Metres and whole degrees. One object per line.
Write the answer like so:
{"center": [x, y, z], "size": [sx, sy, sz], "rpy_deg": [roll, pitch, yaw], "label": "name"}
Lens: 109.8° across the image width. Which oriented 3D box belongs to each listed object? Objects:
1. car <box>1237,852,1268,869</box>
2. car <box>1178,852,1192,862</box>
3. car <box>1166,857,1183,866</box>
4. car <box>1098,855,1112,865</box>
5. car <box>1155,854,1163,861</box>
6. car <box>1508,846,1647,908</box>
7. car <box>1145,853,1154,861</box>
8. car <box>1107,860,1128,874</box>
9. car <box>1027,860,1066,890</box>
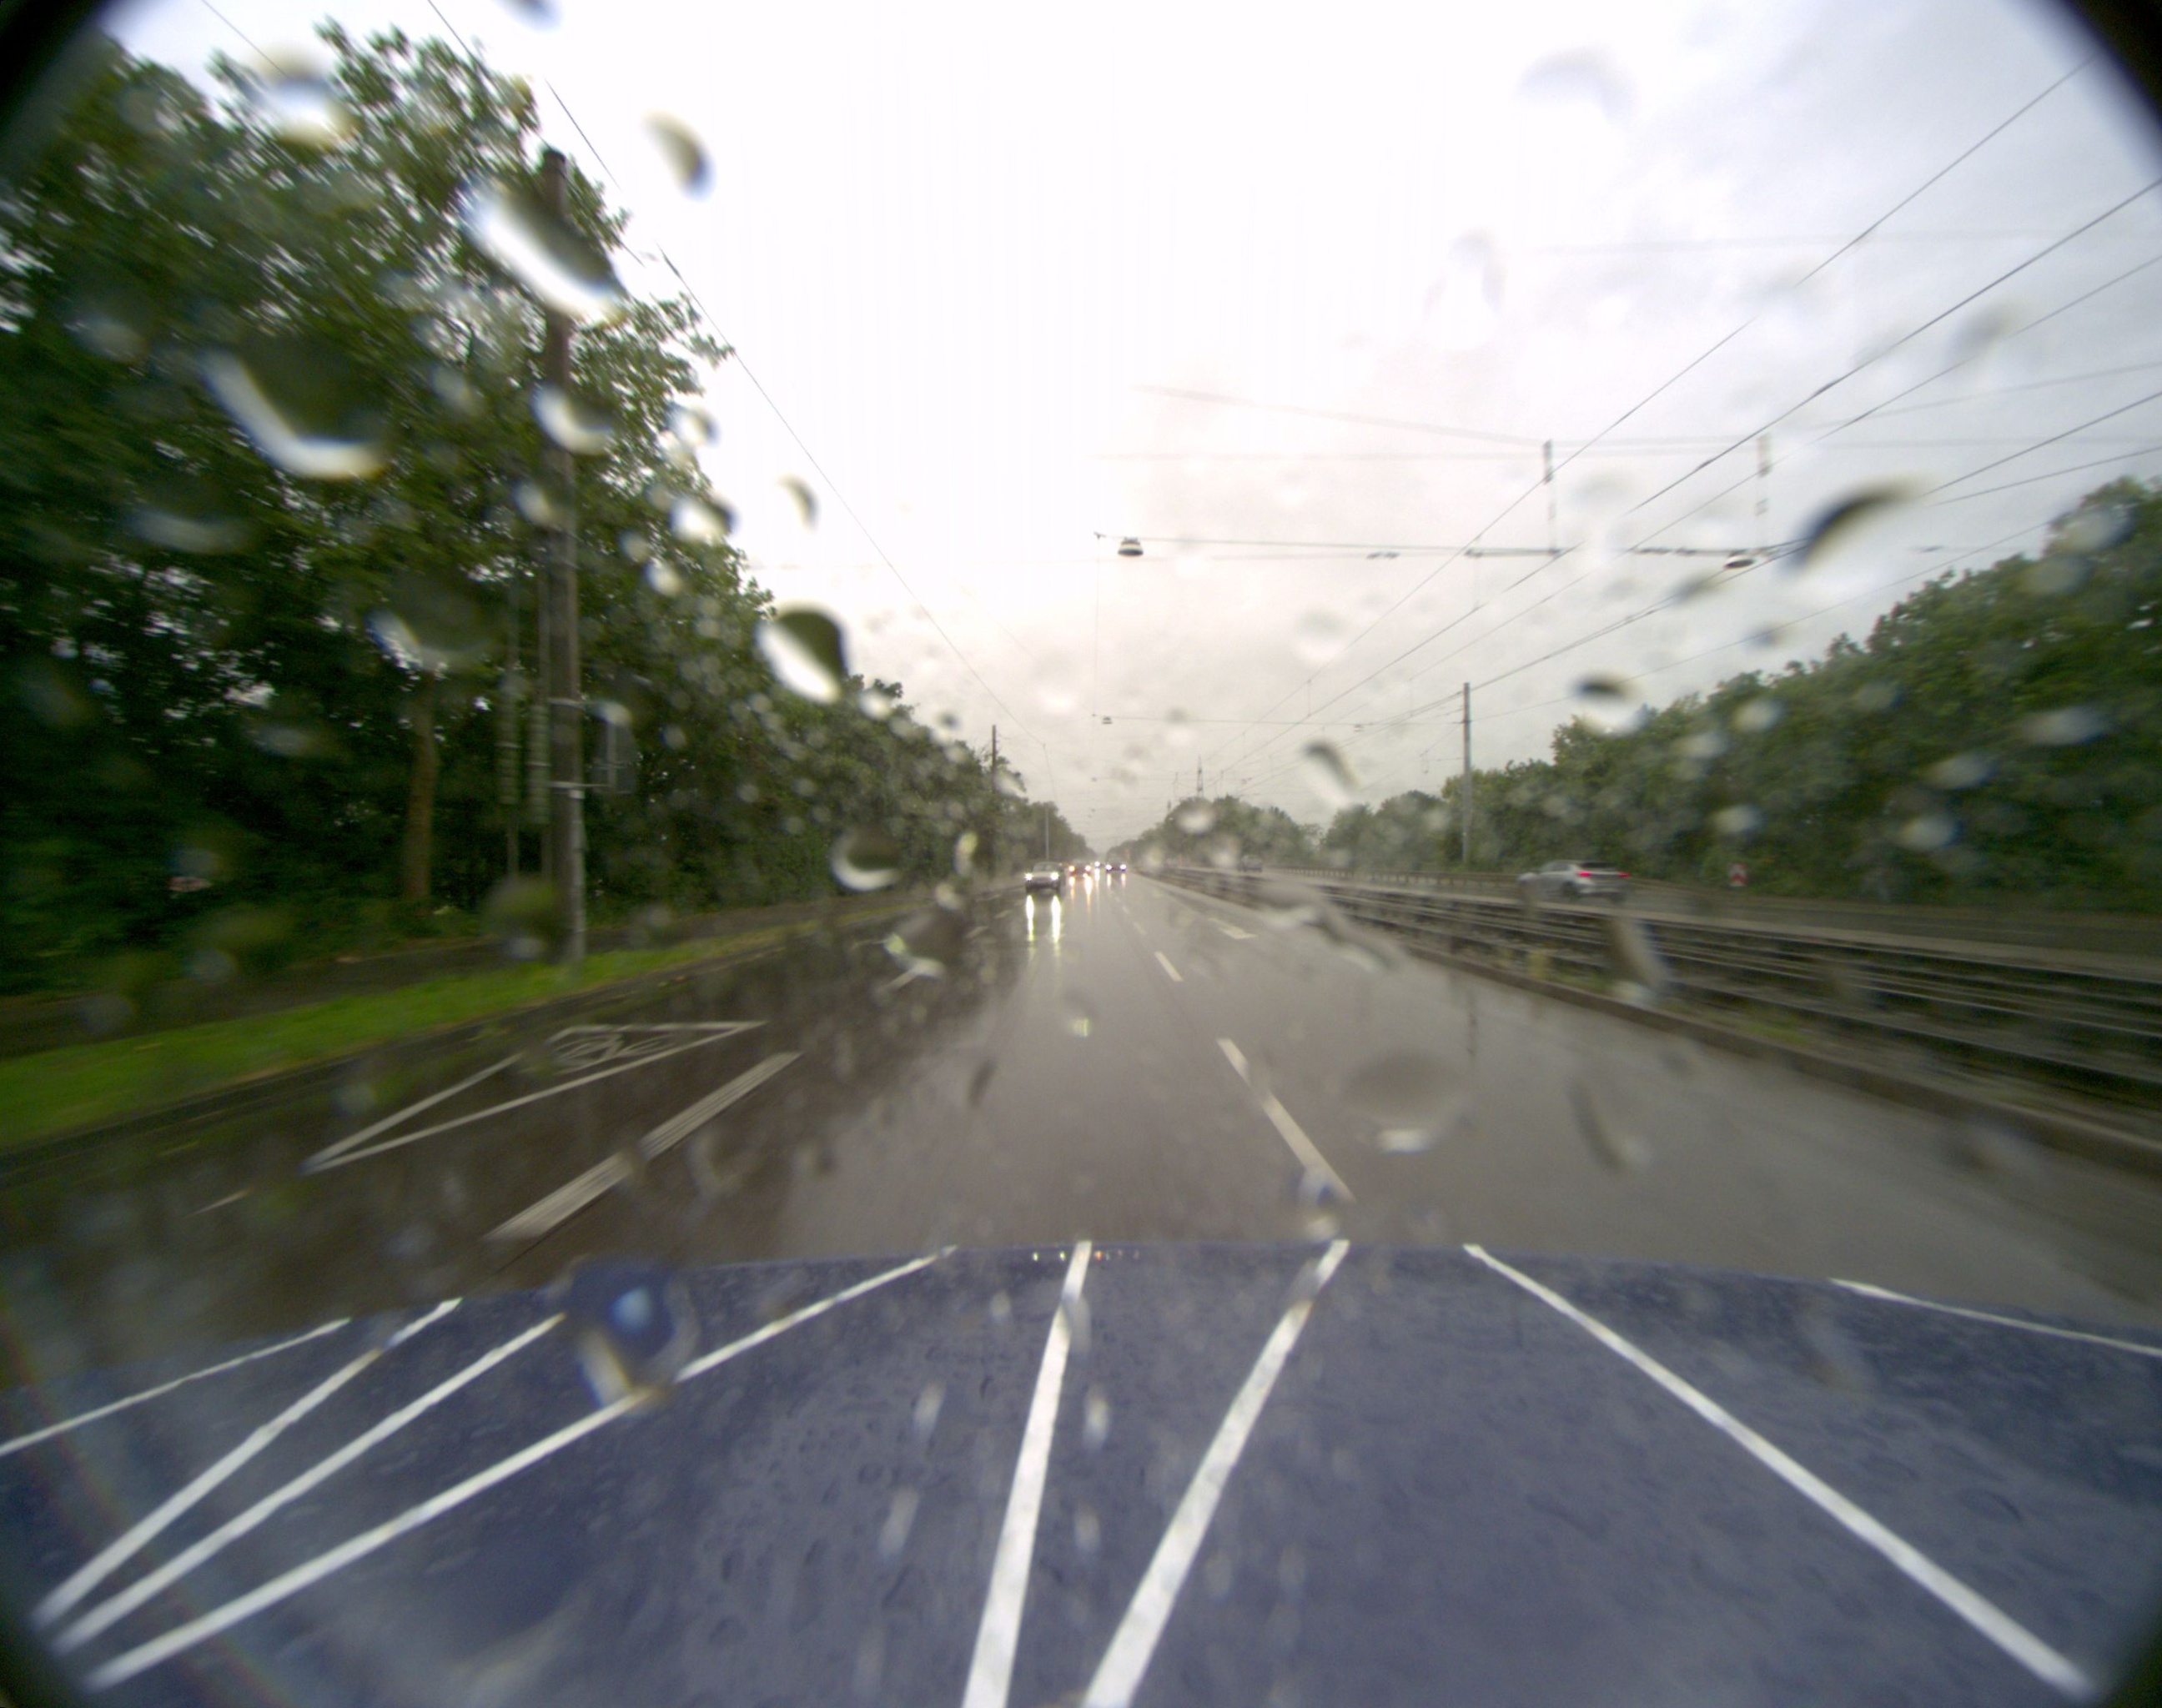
{"center": [17.215, 0.623, 76.646], "size": [1.999, 1.662, 4.872], "rpy_deg": [-1, 0, -1], "label": "car"}
{"center": [17.497, 0.476, 128.085], "size": [1.845, 1.565, 4.385], "rpy_deg": [-1, 0, 1], "label": "car"}
{"center": [14.861, 1.167, 120.858], "size": [1.999, 1.380, 4.853], "rpy_deg": [-1, 0, -1], "label": "car"}
{"center": [3.492, 0.860, 111.209], "size": [1.971, 1.412, 4.000], "rpy_deg": [0, 0, 1], "label": "car"}
{"center": [24.188, 1.076, 236.096], "size": [1.837, 1.701, 4.661], "rpy_deg": [6, 0, 1], "label": "car"}
{"center": [16.810, 0.741, 26.011], "size": [1.999, 1.772, 4.000], "rpy_deg": [-5, 0, 0], "label": "car"}
{"center": [17.577, 0.833, 195.108], "size": [1.853, 1.821, 4.393], "rpy_deg": [-4, 0, 1], "label": "car"}
{"center": [3.706, 1.332, 78.274], "size": [1.971, 1.412, 4.000], "rpy_deg": [0, 0, 1], "label": "car"}
{"center": [-1.727, 1.036, 38.916], "size": [1.751, 1.412, 4.000], "rpy_deg": [0, 0, 1], "label": "car"}
